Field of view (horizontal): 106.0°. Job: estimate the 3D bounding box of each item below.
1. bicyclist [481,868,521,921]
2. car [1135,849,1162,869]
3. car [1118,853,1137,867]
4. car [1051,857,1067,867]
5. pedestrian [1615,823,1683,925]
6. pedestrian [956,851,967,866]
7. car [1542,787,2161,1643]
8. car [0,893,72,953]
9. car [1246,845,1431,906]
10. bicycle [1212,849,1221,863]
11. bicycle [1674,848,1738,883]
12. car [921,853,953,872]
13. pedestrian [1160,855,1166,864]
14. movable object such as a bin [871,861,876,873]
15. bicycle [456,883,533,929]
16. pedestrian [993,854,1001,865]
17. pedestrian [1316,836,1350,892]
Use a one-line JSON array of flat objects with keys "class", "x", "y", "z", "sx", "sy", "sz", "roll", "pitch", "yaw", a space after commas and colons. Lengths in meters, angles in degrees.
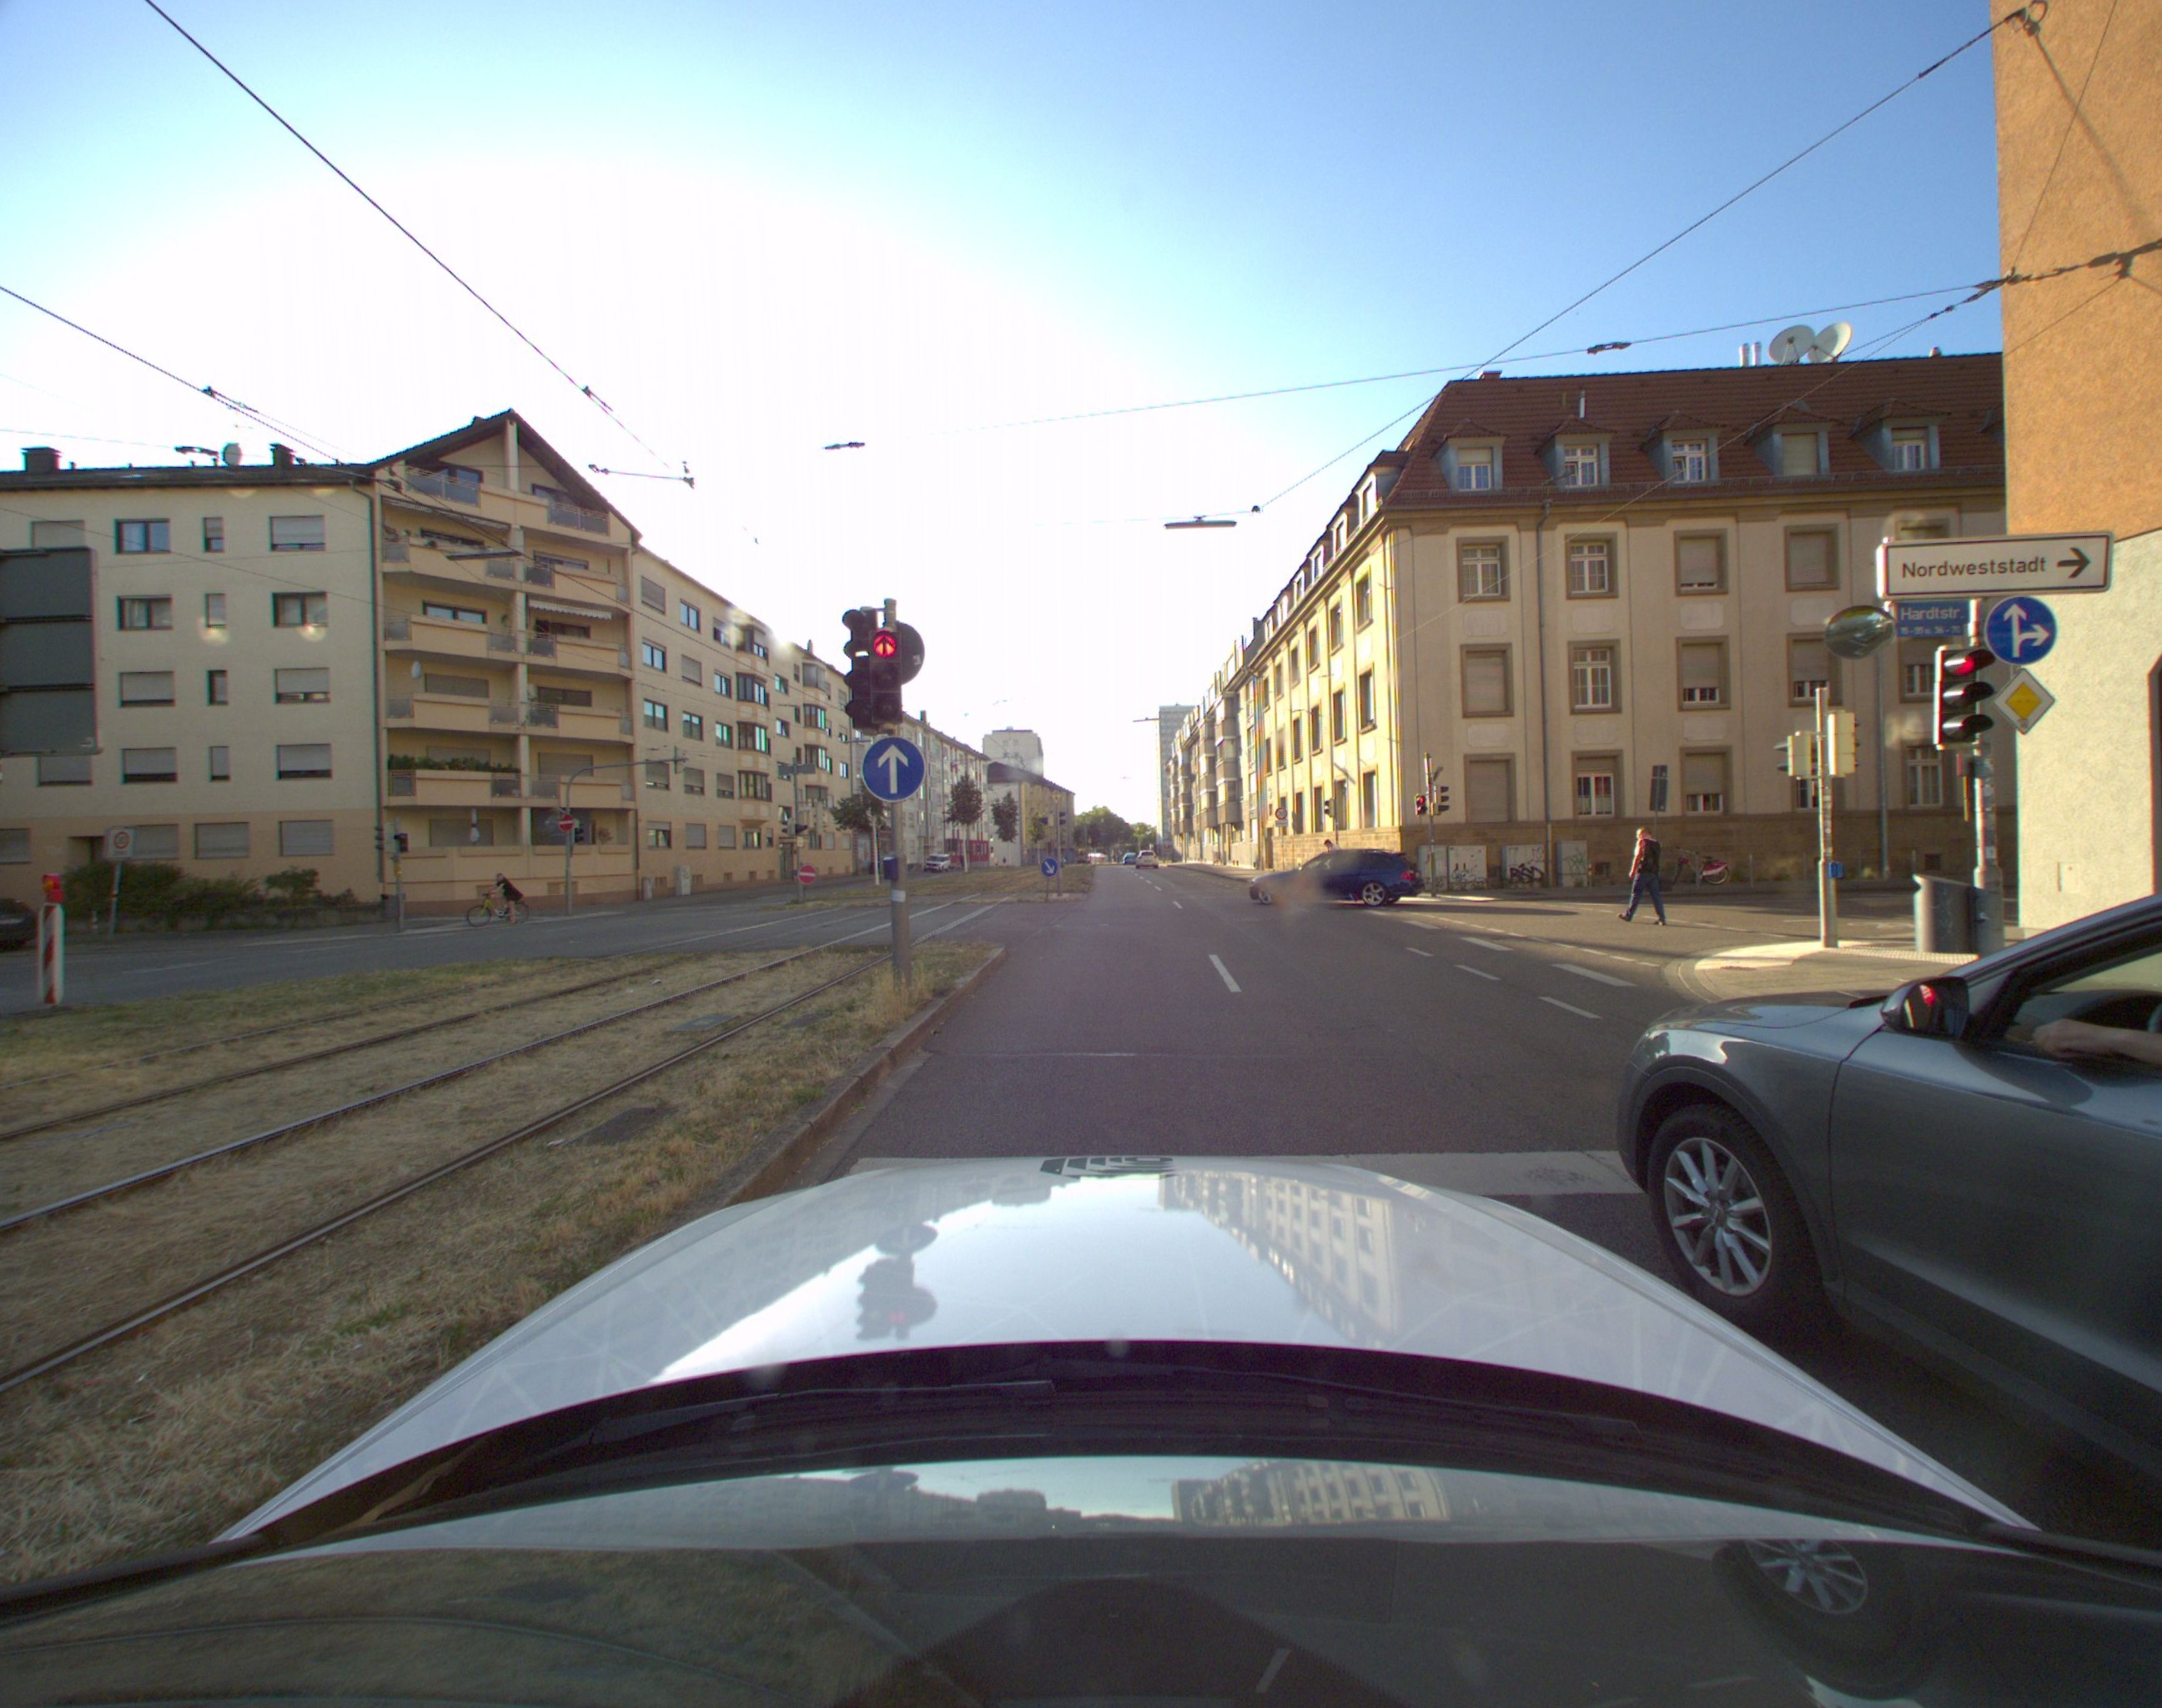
[{"class": "bicyclist", "x": -18.128, "y": 1.260, "z": 25.451, "sx": 0.620, "sy": 1.586, "sz": 0.814, "roll": -1, "pitch": 0, "yaw": 35}, {"class": "car", "x": 5.477, "y": 0.380, "z": 66.473, "sx": 1.986, "sy": 1.564, "sz": 4.002, "roll": 0, "pitch": -1, "yaw": 2}, {"class": "car", "x": 5.440, "y": 0.681, "z": 95.265, "sx": 1.986, "sy": 1.554, "sz": 4.394, "roll": 0, "pitch": -1, "yaw": 1}, {"class": "car", "x": -3.911, "y": 1.480, "z": 145.343, "sx": 1.885, "sy": 1.633, "sz": 4.761, "roll": -2, "pitch": 0, "yaw": 10}, {"class": "pedestrian", "x": 10.120, "y": 0.347, "z": 14.533, "sx": 0.627, "sy": 1.758, "sz": 0.826, "roll": 0, "pitch": -1, "yaw": 1}, {"class": "pedestrian", "x": -14.286, "y": 0.545, "z": 97.043, "sx": 1.268, "sy": 1.761, "sz": 1.271, "roll": 0, "pitch": -1, "yaw": -8}, {"class": "car", "x": 2.811, "y": 0.663, "z": 1.455, "sx": 1.691, "sy": 1.552, "sz": 4.227, "roll": 1, "pitch": 0, "yaw": 2}, {"class": "car", "x": -30.143, "y": 1.915, "z": 21.536, "sx": 3.983, "sy": 1.442, "sz": 1.996, "roll": -2, "pitch": 2, "yaw": -7}, {"class": "car", "x": 6.768, "y": 0.541, "z": 21.524, "sx": 4.271, "sy": 1.456, "sz": 1.945, "roll": -1, "pitch": -1, "yaw": 33}, {"class": "bicycle", "x": 10.252, "y": 0.157, "z": 61.854, "sx": 0.382, "sy": 1.096, "sz": 1.503, "roll": -2, "pitch": -1, "yaw": 0}, {"class": "bicycle", "x": 18.393, "y": 0.328, "z": 23.998, "sx": 1.491, "sy": 1.018, "sz": 0.251, "roll": -1, "pitch": -1, "yaw": 17}, {"class": "car", "x": -14.509, "y": 0.857, "z": 82.172, "sx": 1.984, "sy": 1.925, "sz": 4.548, "roll": 0, "pitch": -1, "yaw": 5}, {"class": "pedestrian", "x": 11.067, "y": 0.716, "z": 109.627, "sx": 0.688, "sy": 1.234, "sz": 0.737, "roll": 0, "pitch": -1, "yaw": 2}, {"class": "movable object such as a bin", "x": -17.532, "y": 1.117, "z": 68.948, "sx": 0.297, "sy": 1.036, "sz": 0.442, "roll": 0, "pitch": -1, "yaw": 3}, {"class": "bicycle", "x": -18.204, "y": 1.587, "z": 25.315, "sx": 0.450, "sy": 1.257, "sz": 1.883, "roll": -1, "pitch": 1, "yaw": 34}, {"class": "pedestrian", "x": -12.600, "y": 0.823, "z": 121.652, "sx": 0.957, "sy": 1.694, "sz": 1.013, "roll": -1, "pitch": -1, "yaw": 7}, {"class": "pedestrian", "x": 8.067, "y": 0.316, "z": 26.083, "sx": 0.832, "sy": 1.762, "sz": 0.824, "roll": 0, "pitch": -1, "yaw": 1}]
